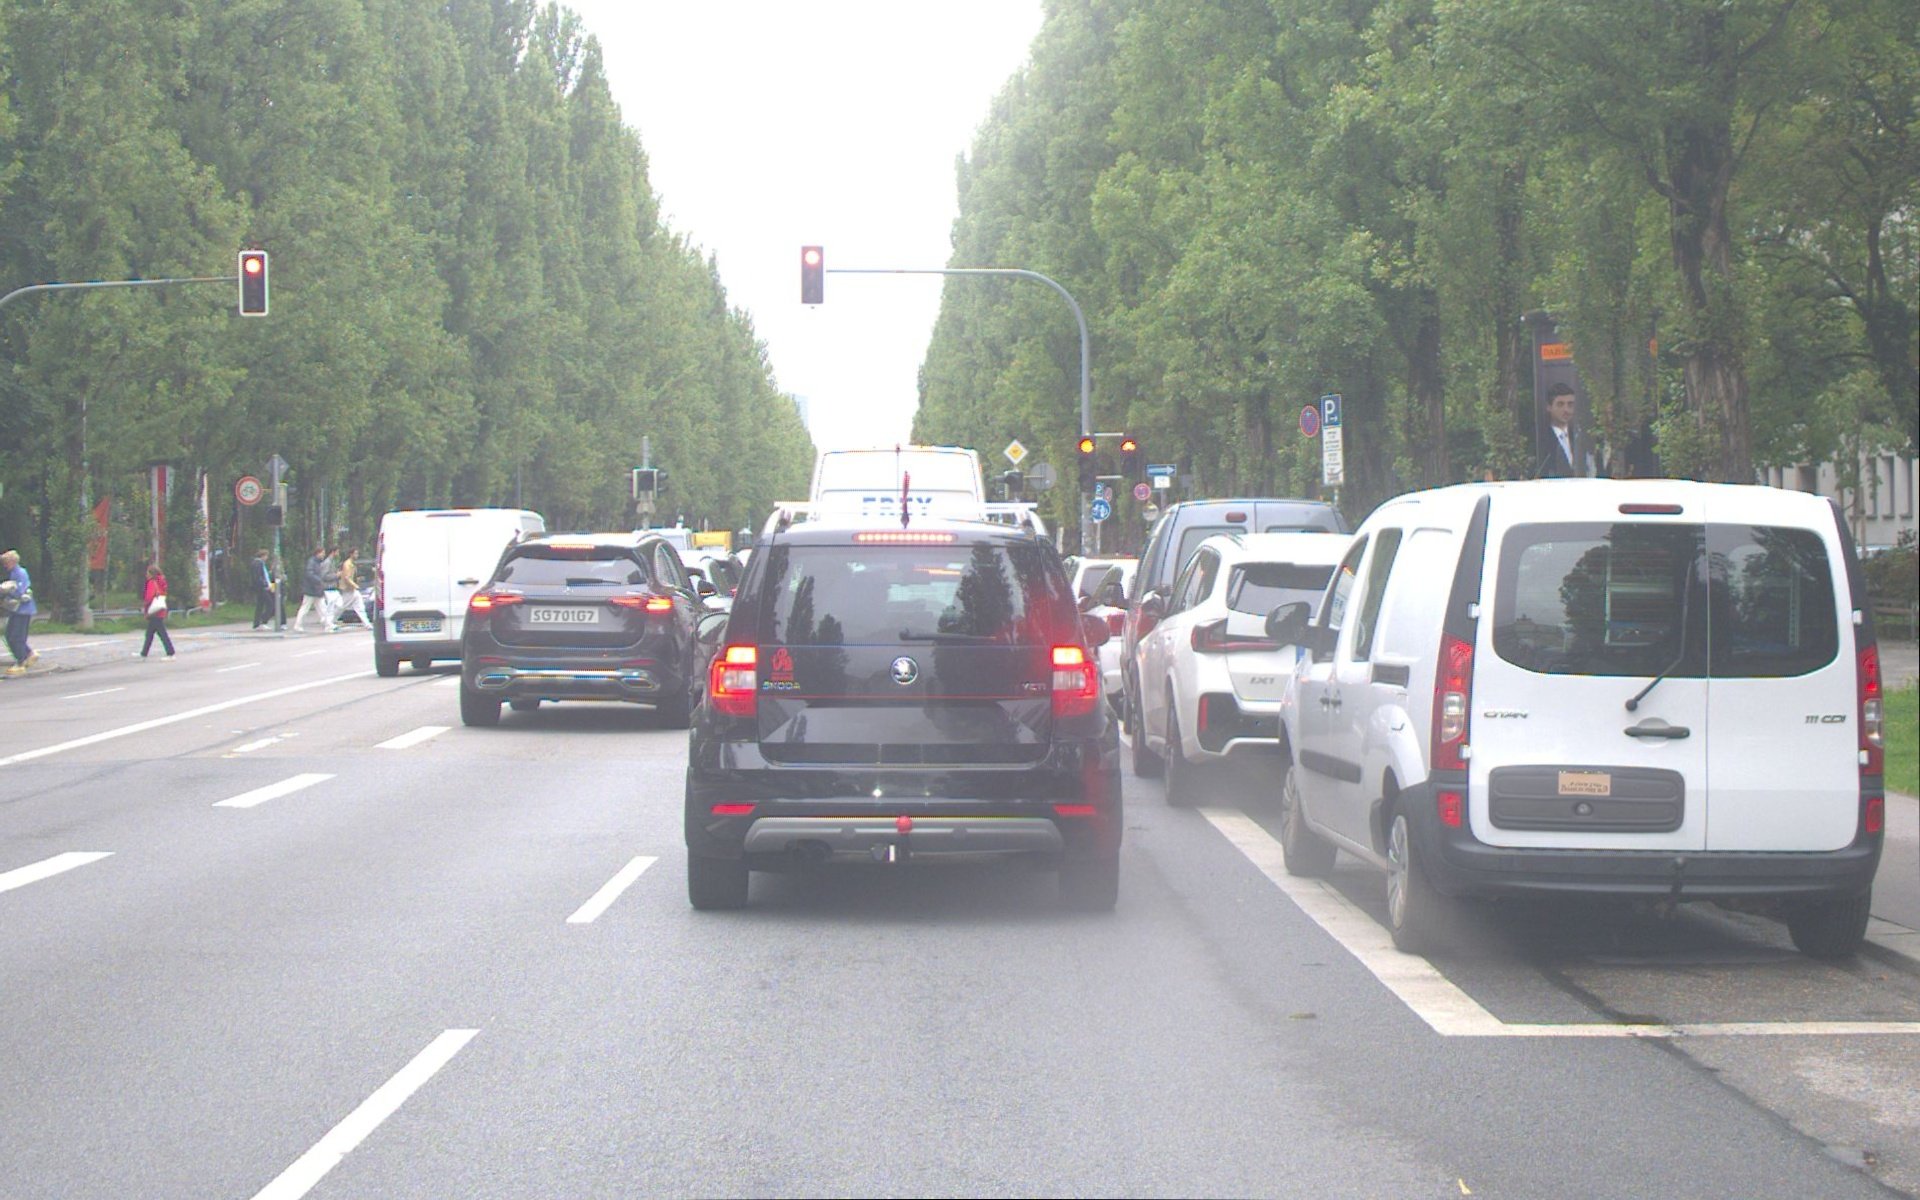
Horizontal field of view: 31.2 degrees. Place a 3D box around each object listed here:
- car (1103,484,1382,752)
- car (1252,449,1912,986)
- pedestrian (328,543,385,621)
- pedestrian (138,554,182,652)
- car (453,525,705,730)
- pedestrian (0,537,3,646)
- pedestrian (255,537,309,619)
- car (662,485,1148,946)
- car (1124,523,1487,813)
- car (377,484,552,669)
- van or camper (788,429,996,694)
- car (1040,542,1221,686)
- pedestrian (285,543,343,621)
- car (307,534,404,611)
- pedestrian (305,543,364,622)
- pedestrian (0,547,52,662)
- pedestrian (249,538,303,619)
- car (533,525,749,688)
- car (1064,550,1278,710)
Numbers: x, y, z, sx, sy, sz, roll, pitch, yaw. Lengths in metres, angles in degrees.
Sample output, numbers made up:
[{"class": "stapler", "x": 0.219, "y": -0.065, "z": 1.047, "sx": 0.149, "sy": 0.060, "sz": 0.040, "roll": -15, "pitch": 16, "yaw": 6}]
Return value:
[{"class": "car", "x": 2.109, "y": 0.082, "z": 26.616, "sx": 1.735, "sy": 1.888, "sz": 4.025, "roll": -1, "pitch": 1, "yaw": -1}, {"class": "car", "x": 2.383, "y": 0.366, "z": 14.255, "sx": 1.851, "sy": 1.875, "sz": 4.169, "roll": -1, "pitch": 1, "yaw": -2}, {"class": "pedestrian", "x": -13.053, "y": -0.397, "z": 74.348, "sx": 0.880, "sy": 1.649, "sz": 0.878, "roll": -2, "pitch": 1, "yaw": -38}, {"class": "pedestrian", "x": -12.288, "y": 0.041, "z": 52.797, "sx": 0.517, "sy": 1.480, "sz": 0.536, "roll": -1, "pitch": 1, "yaw": 0}, {"class": "car", "x": -3.227, "y": 0.180, "z": 29.774, "sx": 1.781, "sy": 1.614, "sz": 4.025, "roll": -1, "pitch": 1, "yaw": -1}, {"class": "pedestrian", "x": -14.210, "y": -0.110, "z": 49.529, "sx": 0.660, "sy": 1.572, "sz": 0.530, "roll": -1, "pitch": 1, "yaw": 0}, {"class": "pedestrian", "x": -14.682, "y": -0.482, "z": 74.469, "sx": 0.880, "sy": 1.758, "sz": 0.878, "roll": -1, "pitch": 1, "yaw": 9}, {"class": "car", "x": -0.242, "y": 0.413, "z": 15.393, "sx": 1.855, "sy": 1.764, "sz": 4.000, "roll": 1, "pitch": 1, "yaw": -1}, {"class": "car", "x": 2.035, "y": 0.334, "z": 21.345, "sx": 1.741, "sy": 1.587, "sz": 4.212, "roll": -1, "pitch": 1, "yaw": -1}, {"class": "car", "x": -5.964, "y": -0.308, "z": 41.740, "sx": 1.781, "sy": 2.104, "sz": 4.025, "roll": -1, "pitch": 1, "yaw": -4}, {"class": "van or camper", "x": -0.751, "y": -0.417, "z": 35.320, "sx": 1.975, "sy": 2.539, "sz": 4.025, "roll": -1, "pitch": 1, "yaw": -3}, {"class": "car", "x": 1.838, "y": 0.118, "z": 37.995, "sx": 1.735, "sy": 1.470, "sz": 3.563, "roll": -1, "pitch": 1, "yaw": -1}, {"class": "pedestrian", "x": -13.820, "y": -0.392, "z": 73.560, "sx": 0.880, "sy": 1.649, "sz": 0.878, "roll": -2, "pitch": 1, "yaw": -38}, {"class": "car", "x": -14.526, "y": -0.680, "z": 82.733, "sx": 1.688, "sy": 1.776, "sz": 3.775, "roll": -1, "pitch": 1, "yaw": -1}, {"class": "pedestrian", "x": -13.249, "y": -0.383, "z": 72.842, "sx": 0.880, "sy": 1.649, "sz": 0.878, "roll": -2, "pitch": 1, "yaw": -38}, {"class": "pedestrian", "x": -12.983, "y": 0.052, "z": 47.751, "sx": 0.528, "sy": 1.572, "sz": 0.662, "roll": -1, "pitch": 1, "yaw": 0}, {"class": "pedestrian", "x": -15.026, "y": -0.481, "z": 75.519, "sx": 0.880, "sy": 1.758, "sz": 0.878, "roll": -1, "pitch": 1, "yaw": 9}, {"class": "car", "x": -3.286, "y": 0.020, "z": 36.065, "sx": 1.993, "sy": 1.555, "sz": 4.001, "roll": -1, "pitch": 2, "yaw": -2}, {"class": "car", "x": 1.949, "y": 0.242, "z": 32.694, "sx": 1.735, "sy": 1.382, "sz": 3.563, "roll": -1, "pitch": 1, "yaw": -1}]
